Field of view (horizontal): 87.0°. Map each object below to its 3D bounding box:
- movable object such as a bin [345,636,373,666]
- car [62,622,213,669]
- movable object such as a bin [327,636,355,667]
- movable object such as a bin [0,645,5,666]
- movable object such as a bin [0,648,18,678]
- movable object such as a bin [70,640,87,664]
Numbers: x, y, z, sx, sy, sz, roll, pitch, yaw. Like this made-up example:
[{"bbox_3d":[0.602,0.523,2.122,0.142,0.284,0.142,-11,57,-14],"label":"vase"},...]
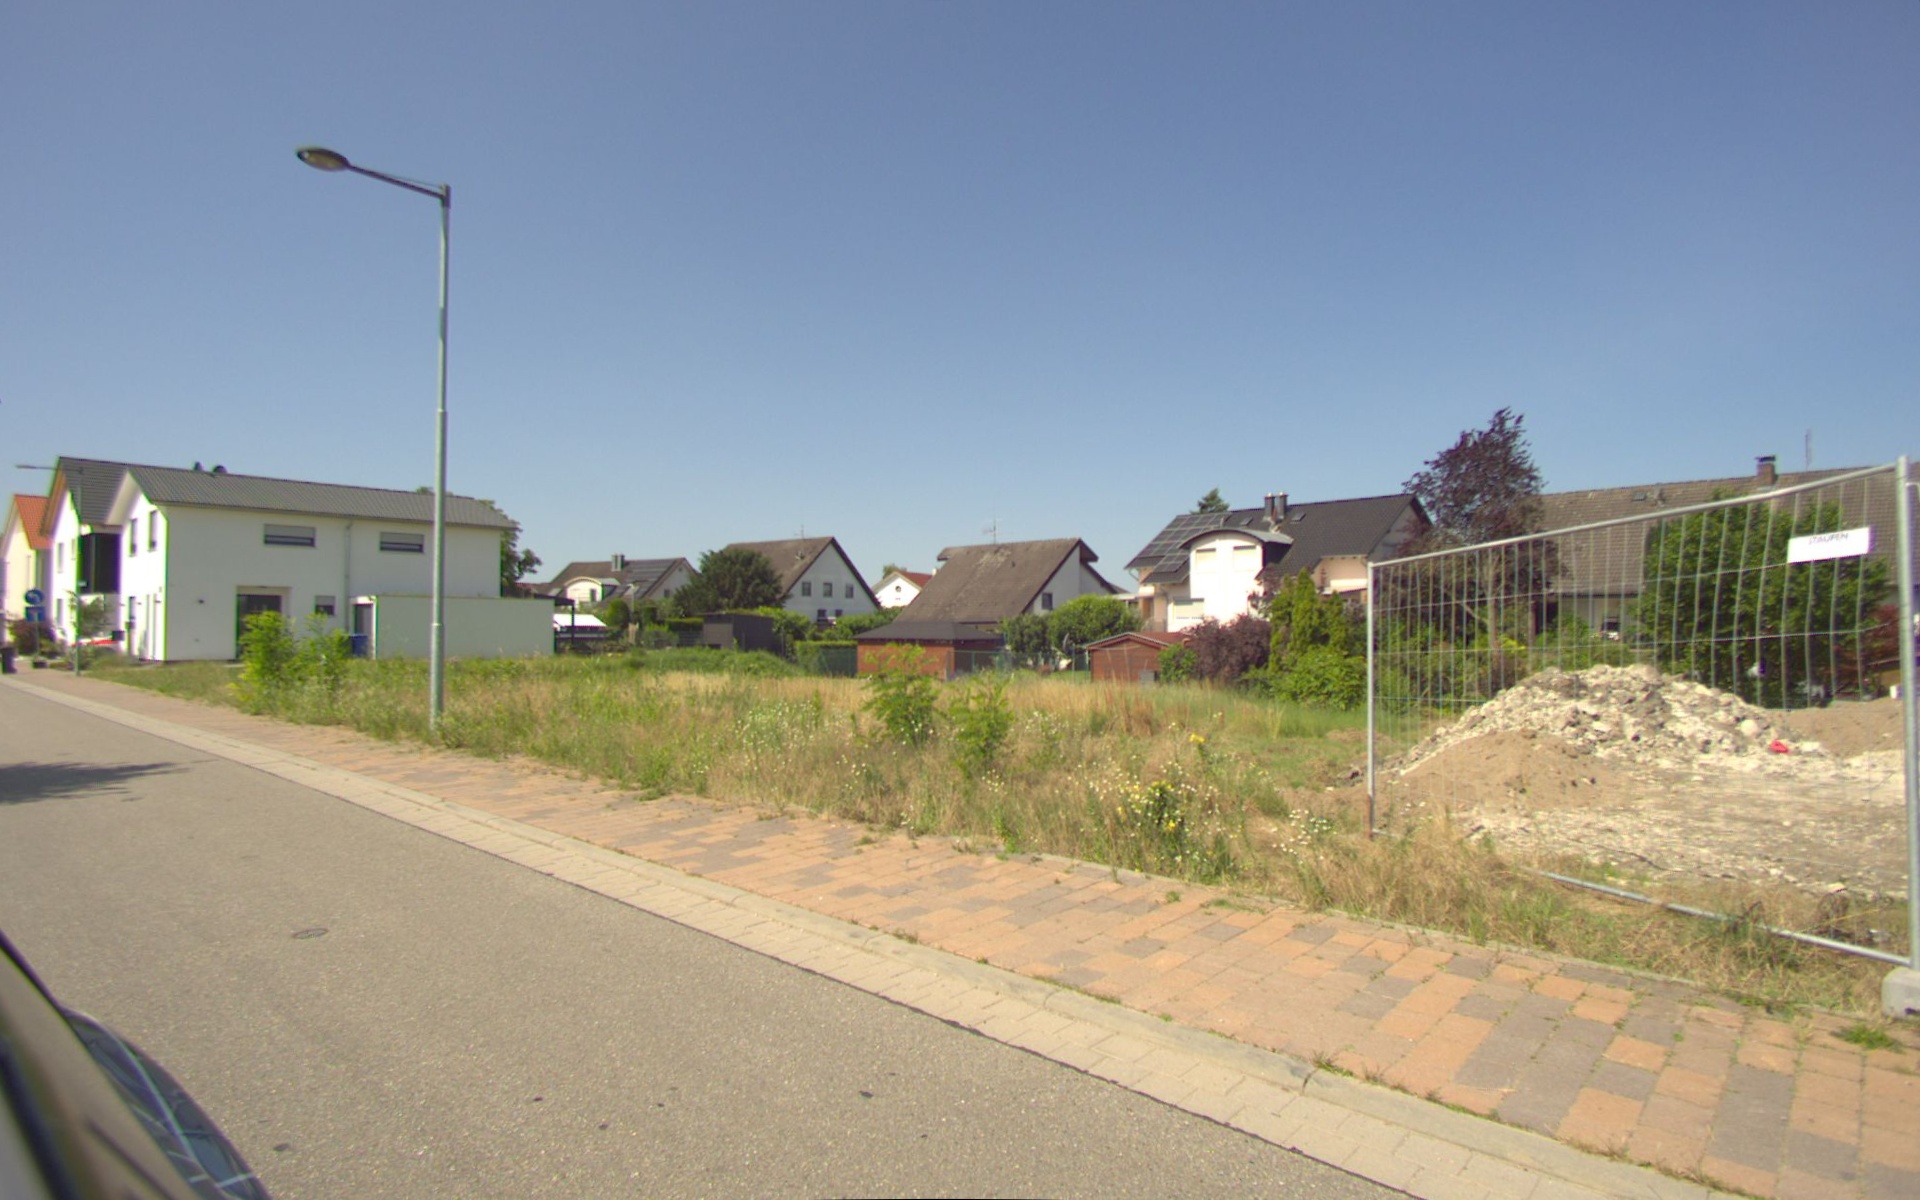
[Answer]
[{"bbox_3d":[-22.429,1.901,37.753,0.808,1.107,0.662,-2,-3,43],"label":"movable object such as a bin"},{"bbox_3d":[-34.925,1.920,43.090,1.937,1.889,4.688,-2,-3,39],"label":"car"},{"bbox_3d":[-22.749,1.887,37.207,0.784,1.107,0.653,-2,-3,42],"label":"movable object such as a bin"},{"bbox_3d":[-43.900,2.541,46.035,0.564,0.944,0.611,-3,-2,38],"label":"movable object such as a bin"},{"bbox_3d":[-32.096,2.118,33.966,0.499,0.955,0.617,0,-1,38],"label":"movable object such as a bin"},{"bbox_3d":[-42.455,2.503,48.738,0.601,1.100,0.493,-4,-3,38],"label":"movable object such as a bin"}]
